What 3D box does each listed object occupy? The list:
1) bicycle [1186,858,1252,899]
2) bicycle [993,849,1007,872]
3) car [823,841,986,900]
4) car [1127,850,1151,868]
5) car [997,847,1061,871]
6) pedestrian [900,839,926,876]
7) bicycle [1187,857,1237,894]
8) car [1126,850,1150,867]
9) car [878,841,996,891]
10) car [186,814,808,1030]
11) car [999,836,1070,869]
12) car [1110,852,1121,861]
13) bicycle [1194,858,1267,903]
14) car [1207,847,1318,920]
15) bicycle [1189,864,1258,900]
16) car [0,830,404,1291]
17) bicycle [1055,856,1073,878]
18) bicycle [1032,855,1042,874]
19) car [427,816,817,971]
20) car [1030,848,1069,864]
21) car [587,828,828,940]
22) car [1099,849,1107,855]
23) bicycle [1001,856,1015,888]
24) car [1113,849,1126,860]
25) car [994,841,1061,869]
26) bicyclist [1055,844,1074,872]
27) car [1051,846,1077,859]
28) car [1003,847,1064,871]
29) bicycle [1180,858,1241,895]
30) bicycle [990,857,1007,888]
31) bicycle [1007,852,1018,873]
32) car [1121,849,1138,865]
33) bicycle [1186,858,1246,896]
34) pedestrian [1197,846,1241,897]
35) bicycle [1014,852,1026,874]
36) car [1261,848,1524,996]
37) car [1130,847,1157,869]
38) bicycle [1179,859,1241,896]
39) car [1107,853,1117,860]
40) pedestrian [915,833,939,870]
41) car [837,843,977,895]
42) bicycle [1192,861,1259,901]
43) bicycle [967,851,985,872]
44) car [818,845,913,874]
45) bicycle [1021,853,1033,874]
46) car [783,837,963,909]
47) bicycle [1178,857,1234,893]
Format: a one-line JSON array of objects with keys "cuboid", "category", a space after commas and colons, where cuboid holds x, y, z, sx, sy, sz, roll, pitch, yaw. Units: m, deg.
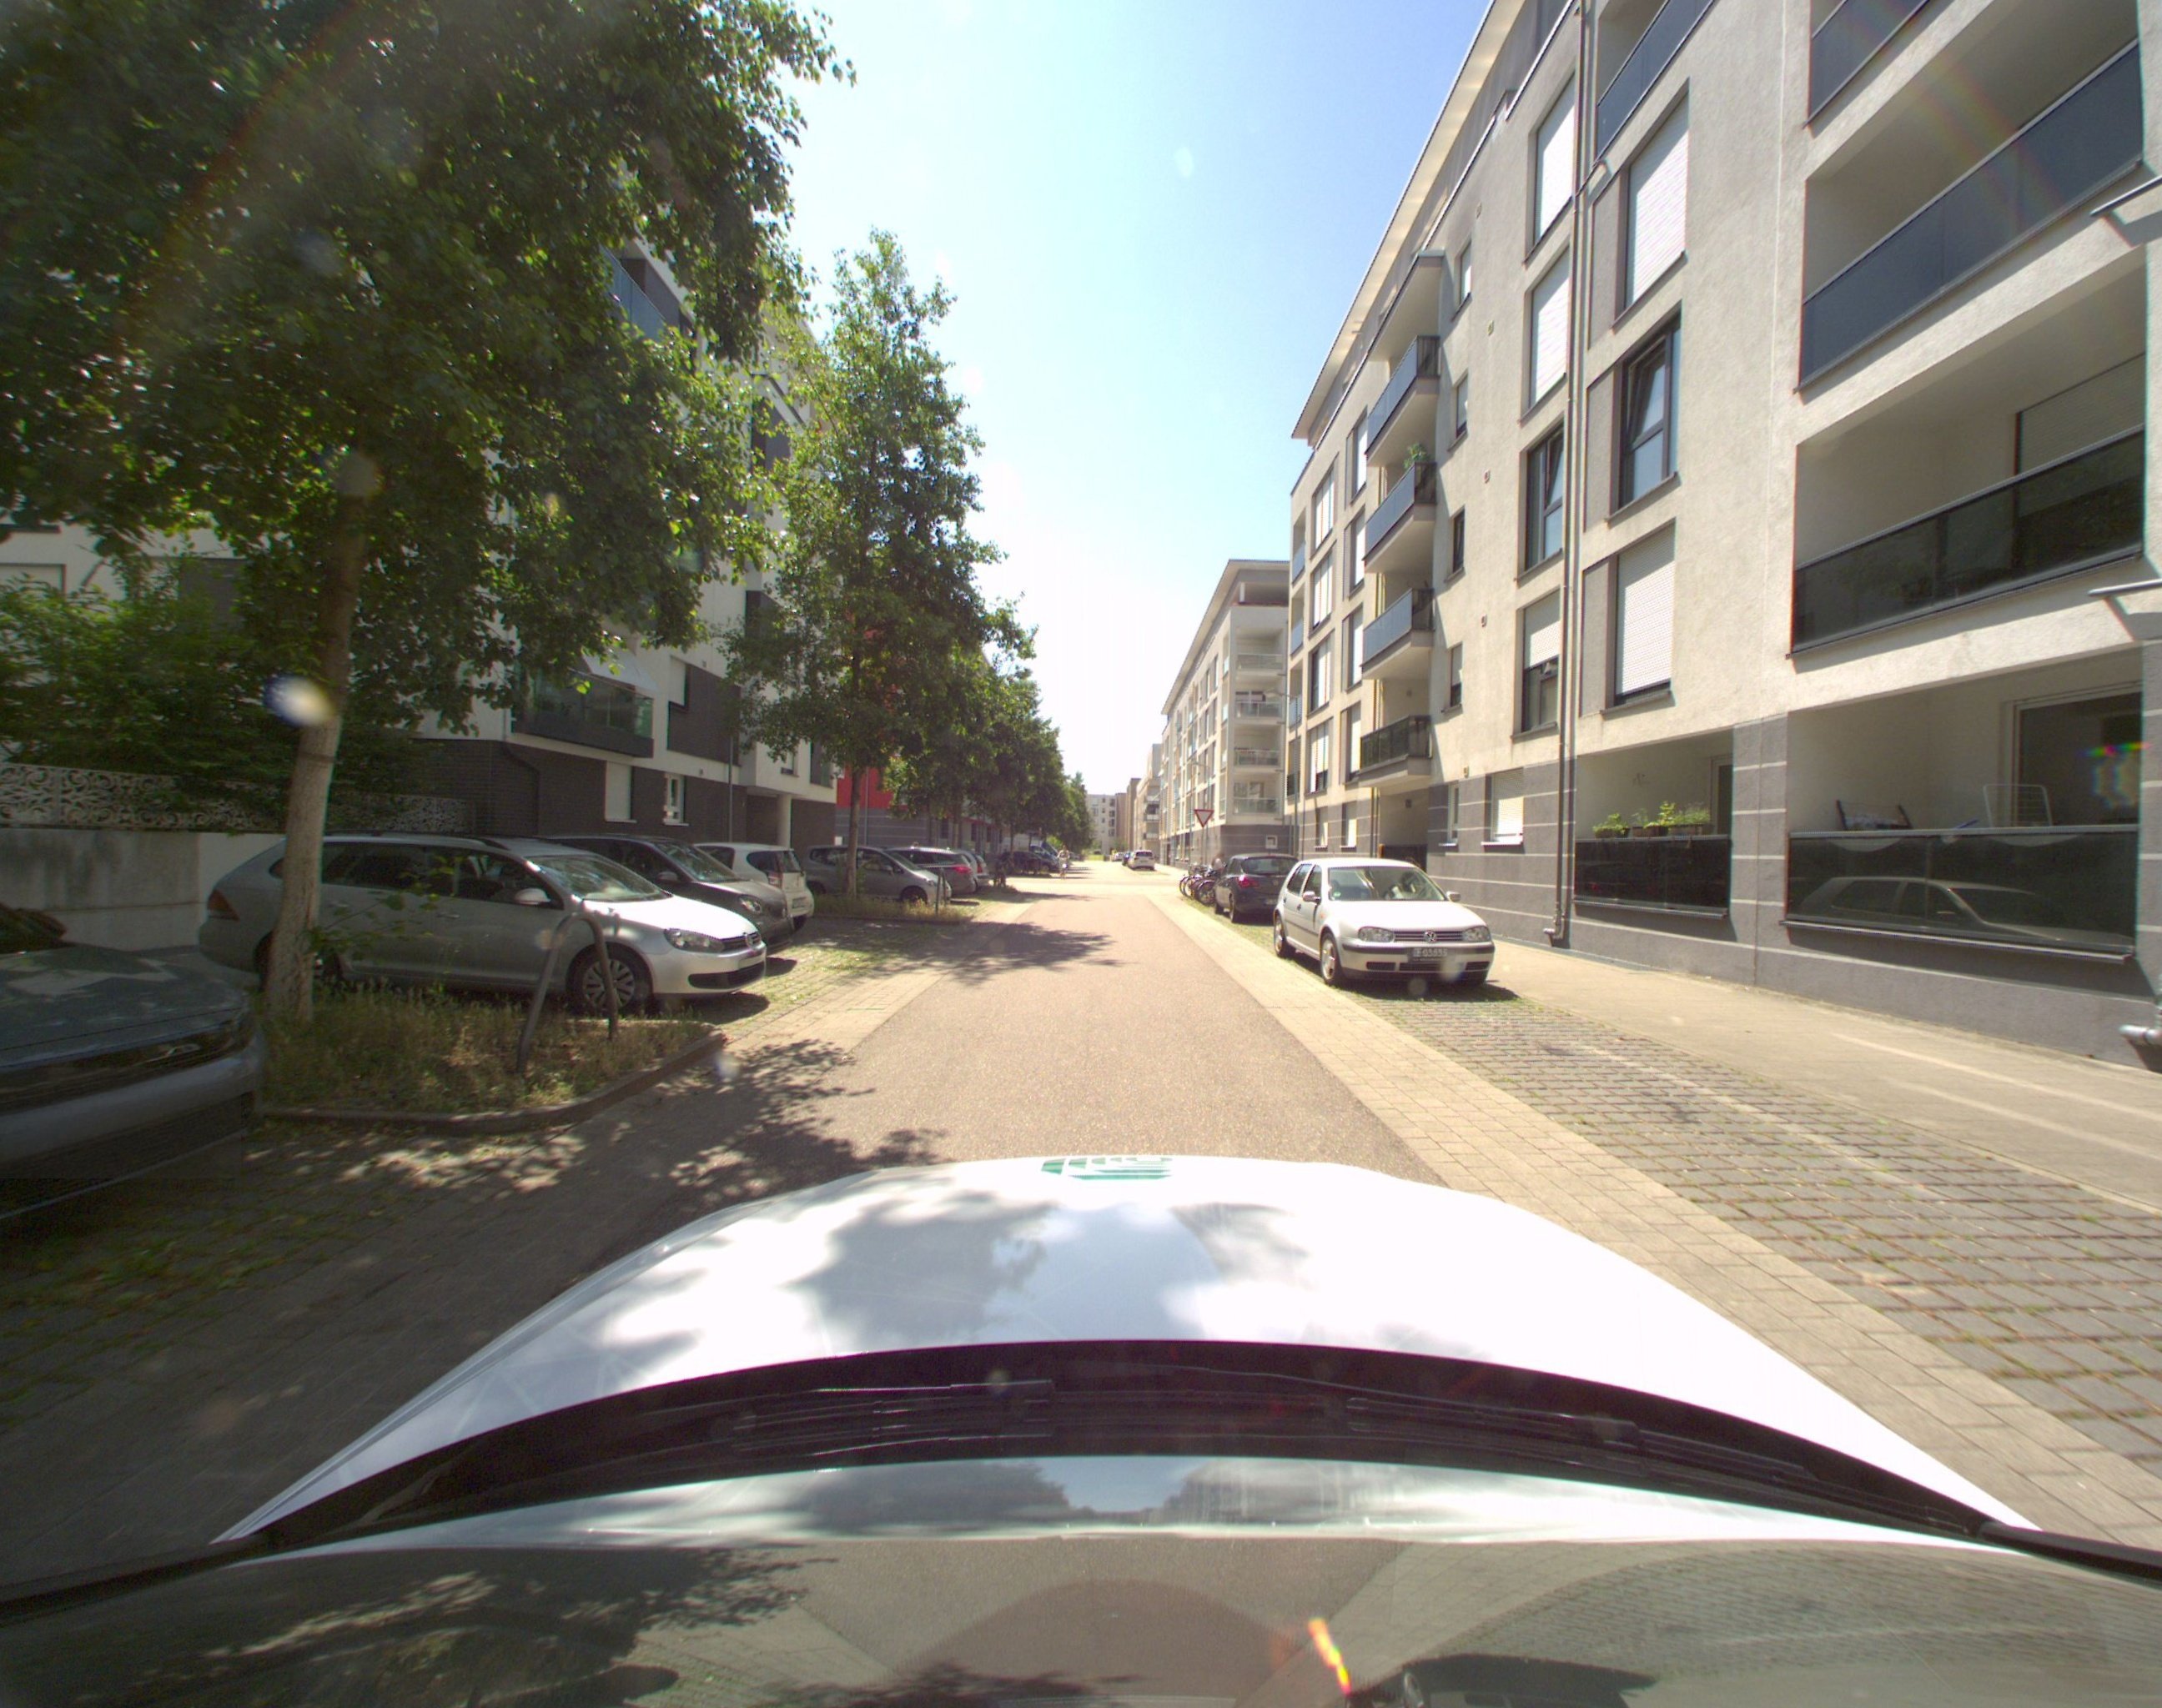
[{"cuboid": [4.169, 0.724, 24.601, 1.922, 1.218, 0.459, 0, 0, -8], "category": "bicycle"}, {"cuboid": [-4.898, 0.387, 49.149, 0.591, 1.331, 1.813, 1, 1, 2], "category": "bicycle"}, {"cuboid": [-4.914, 0.465, 23.169, 4.170, 1.486, 1.957, 2, -1, -3], "category": "car"}, {"cuboid": [5.117, 0.389, 72.000, 1.986, 1.524, 4.002, 0, 0, 2], "category": "car"}, {"cuboid": [-3.722, 0.357, 59.208, 4.367, 1.515, 2.076, 3, 0, 1], "category": "car"}, {"cuboid": [-7.865, 0.160, 38.173, 0.996, 1.690, 0.833, 1, 0, 2], "category": "pedestrian"}, {"cuboid": [4.305, 0.697, 26.837, 1.546, 1.218, 0.707, 0, 0, -1], "category": "bicycle"}, {"cuboid": [5.346, 0.371, 76.828, 1.987, 1.524, 4.000, 0, 0, 0], "category": "car"}, {"cuboid": [-4.898, 0.405, 28.089, 3.617, 1.520, 1.832, 3, 0, 1], "category": "car"}, {"cuboid": [-5.105, 0.545, 7.690, 4.348, 1.710, 1.999, -1, 0, -2], "category": "car"}, {"cuboid": [-4.054, -0.160, 71.833, 6.002, 2.816, 2.606, 0, 0, 1], "category": "car"}, {"cuboid": [6.885, 0.402, 162.196, 1.987, 1.717, 4.000, 1, 0, 0], "category": "car"}, {"cuboid": [4.114, 0.728, 22.499, 1.865, 1.218, 0.715, 0, 0, -3], "category": "bicycle"}, {"cuboid": [4.052, 0.592, 18.853, 1.732, 1.485, 4.230, 0, 0, 1], "category": "car"}, {"cuboid": [4.187, 0.802, 23.939, 1.919, 1.035, 0.559, 0, 0, -3], "category": "bicycle"}, {"cuboid": [-5.427, 0.600, 3.154, 3.972, 1.422, 1.898, 3, 0, 2], "category": "car"}, {"cuboid": [-0.874, 0.662, 42.451, 0.895, 1.129, 2.040, 1, 0, 1], "category": "bicycle"}, {"cuboid": [-2.650, 0.629, 49.290, 0.464, 1.141, 1.925, 1, 0, -1], "category": "bicycle"}, {"cuboid": [-5.447, 0.457, 10.110, 3.701, 1.586, 1.818, 3, 0, -5], "category": "car"}, {"cuboid": [-3.432, 0.193, 89.034, 3.970, 1.618, 2.002, 1, 0, 3], "category": "car"}, {"cuboid": [-5.879, 0.447, 13.119, 2.923, 1.500, 1.848, 4, 0, -1], "category": "car"}, {"cuboid": [5.900, -0.493, 218.415, 1.987, 1.519, 4.000, 1, 0, 0], "category": "car"}, {"cuboid": [-2.745, 0.660, 30.582, 0.371, 1.180, 1.814, 0, 0, -11], "category": "bicycle"}, {"cuboid": [6.405, 0.106, 134.966, 1.987, 1.675, 4.000, 1, 0, 0], "category": "car"}, {"cuboid": [-4.312, 0.066, 66.404, 5.127, 2.119, 2.312, 2, 0, 1], "category": "car"}, {"cuboid": [-0.866, 0.194, 42.582, 0.950, 1.459, 0.800, 1, 0, 0], "category": "bicyclist"}, {"cuboid": [-2.701, -0.188, 130.675, 3.965, 2.013, 2.004, 1, 0, 7], "category": "car"}, {"cuboid": [-3.585, 0.375, 61.997, 4.367, 1.542, 1.879, 3, 0, 1], "category": "car"}, {"cuboid": [4.158, 0.712, 26.156, 1.911, 1.179, 0.640, 0, 0, 10], "category": "bicycle"}, {"cuboid": [-3.106, 0.683, 30.558, 0.434, 1.128, 1.971, 0, 0, -11], "category": "bicycle"}, {"cuboid": [-4.131, 0.507, 49.348, 0.517, 1.204, 1.752, 3, 1, -1], "category": "bicycle"}, {"cuboid": [5.179, 0.314, 86.413, 1.749, 1.552, 4.005, 2, 0, 4], "category": "car"}, {"cuboid": [4.170, 0.705, 25.185, 1.838, 1.148, 0.458, 0, 0, -18], "category": "bicycle"}, {"cuboid": [4.175, 0.531, 24.728, 1.178, 1.515, 0.686, 0, 0, -9], "category": "pedestrian"}, {"cuboid": [-3.674, 0.527, 49.090, 0.432, 1.204, 1.701, 3, 1, 2], "category": "bicycle"}, {"cuboid": [3.682, 0.688, 10.536, 1.827, 1.505, 4.352, 0, 0, 1], "category": "car"}, {"cuboid": [5.064, 0.299, 66.298, 1.990, 1.657, 4.117, 0, 0, 2], "category": "car"}, {"cuboid": [4.045, 0.729, 25.552, 1.911, 1.133, 0.611, 0, 0, 10], "category": "bicycle"}, {"cuboid": [6.614, 0.592, 176.267, 1.987, 1.519, 4.000, 1, 0, 0], "category": "car"}, {"cuboid": [-8.464, -0.128, 44.681, 1.004, 2.013, 1.131, 1, 0, 4], "category": "pedestrian"}, {"cuboid": [-5.434, 0.457, 25.820, 3.970, 1.555, 1.801, 0, 0, 3], "category": "car"}, {"cuboid": [4.121, 0.758, 23.245, 1.782, 1.104, 0.746, 0, 0, -3], "category": "bicycle"}, {"cuboid": [-6.301, 0.416, 49.000, 0.687, 1.170, 2.224, 3, 1, 2], "category": "bicycle"}, {"cuboid": [-11.499, 0.282, 43.735, 4.559, 1.383, 1.937, 1, 2, -2], "category": "car"}, {"cuboid": [-3.243, 0.566, 49.078, 0.569, 1.174, 1.765, 4, 1, -6], "category": "bicycle"}, {"cuboid": [-5.076, 0.445, 20.274, 3.924, 1.553, 1.872, 3, 0, 0], "category": "car"}, {"cuboid": [4.212, 0.703, 27.548, 1.851, 1.193, 0.688, 0, 0, 4], "category": "bicycle"}]
